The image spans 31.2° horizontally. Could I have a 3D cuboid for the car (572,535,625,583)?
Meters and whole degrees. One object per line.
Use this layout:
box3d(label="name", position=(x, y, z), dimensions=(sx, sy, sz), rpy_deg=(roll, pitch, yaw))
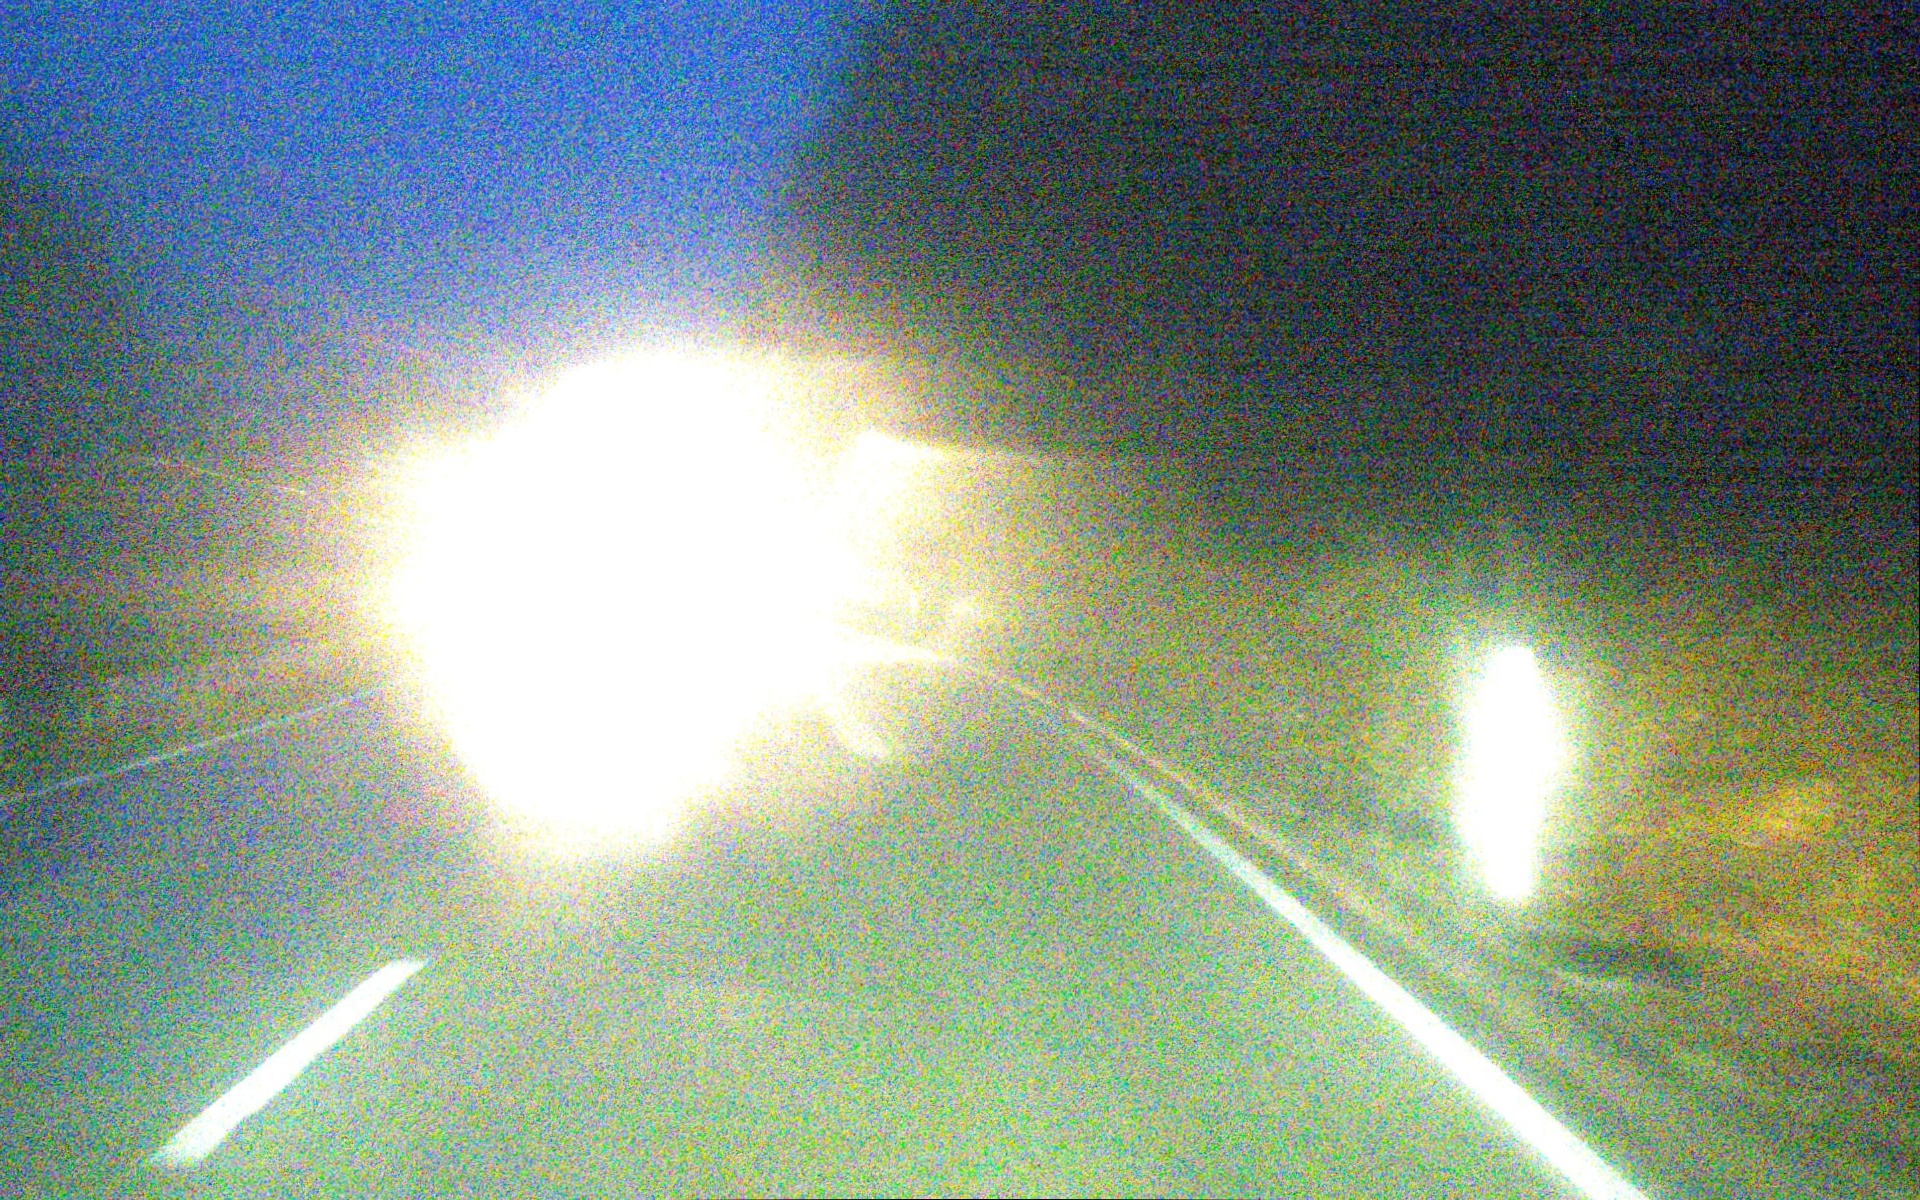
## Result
box3d(label="car", position=(-12.639, -1.450, 120.296), dimensions=(1.721, 1.607, 4.003), rpy_deg=(1, 1, -5))
